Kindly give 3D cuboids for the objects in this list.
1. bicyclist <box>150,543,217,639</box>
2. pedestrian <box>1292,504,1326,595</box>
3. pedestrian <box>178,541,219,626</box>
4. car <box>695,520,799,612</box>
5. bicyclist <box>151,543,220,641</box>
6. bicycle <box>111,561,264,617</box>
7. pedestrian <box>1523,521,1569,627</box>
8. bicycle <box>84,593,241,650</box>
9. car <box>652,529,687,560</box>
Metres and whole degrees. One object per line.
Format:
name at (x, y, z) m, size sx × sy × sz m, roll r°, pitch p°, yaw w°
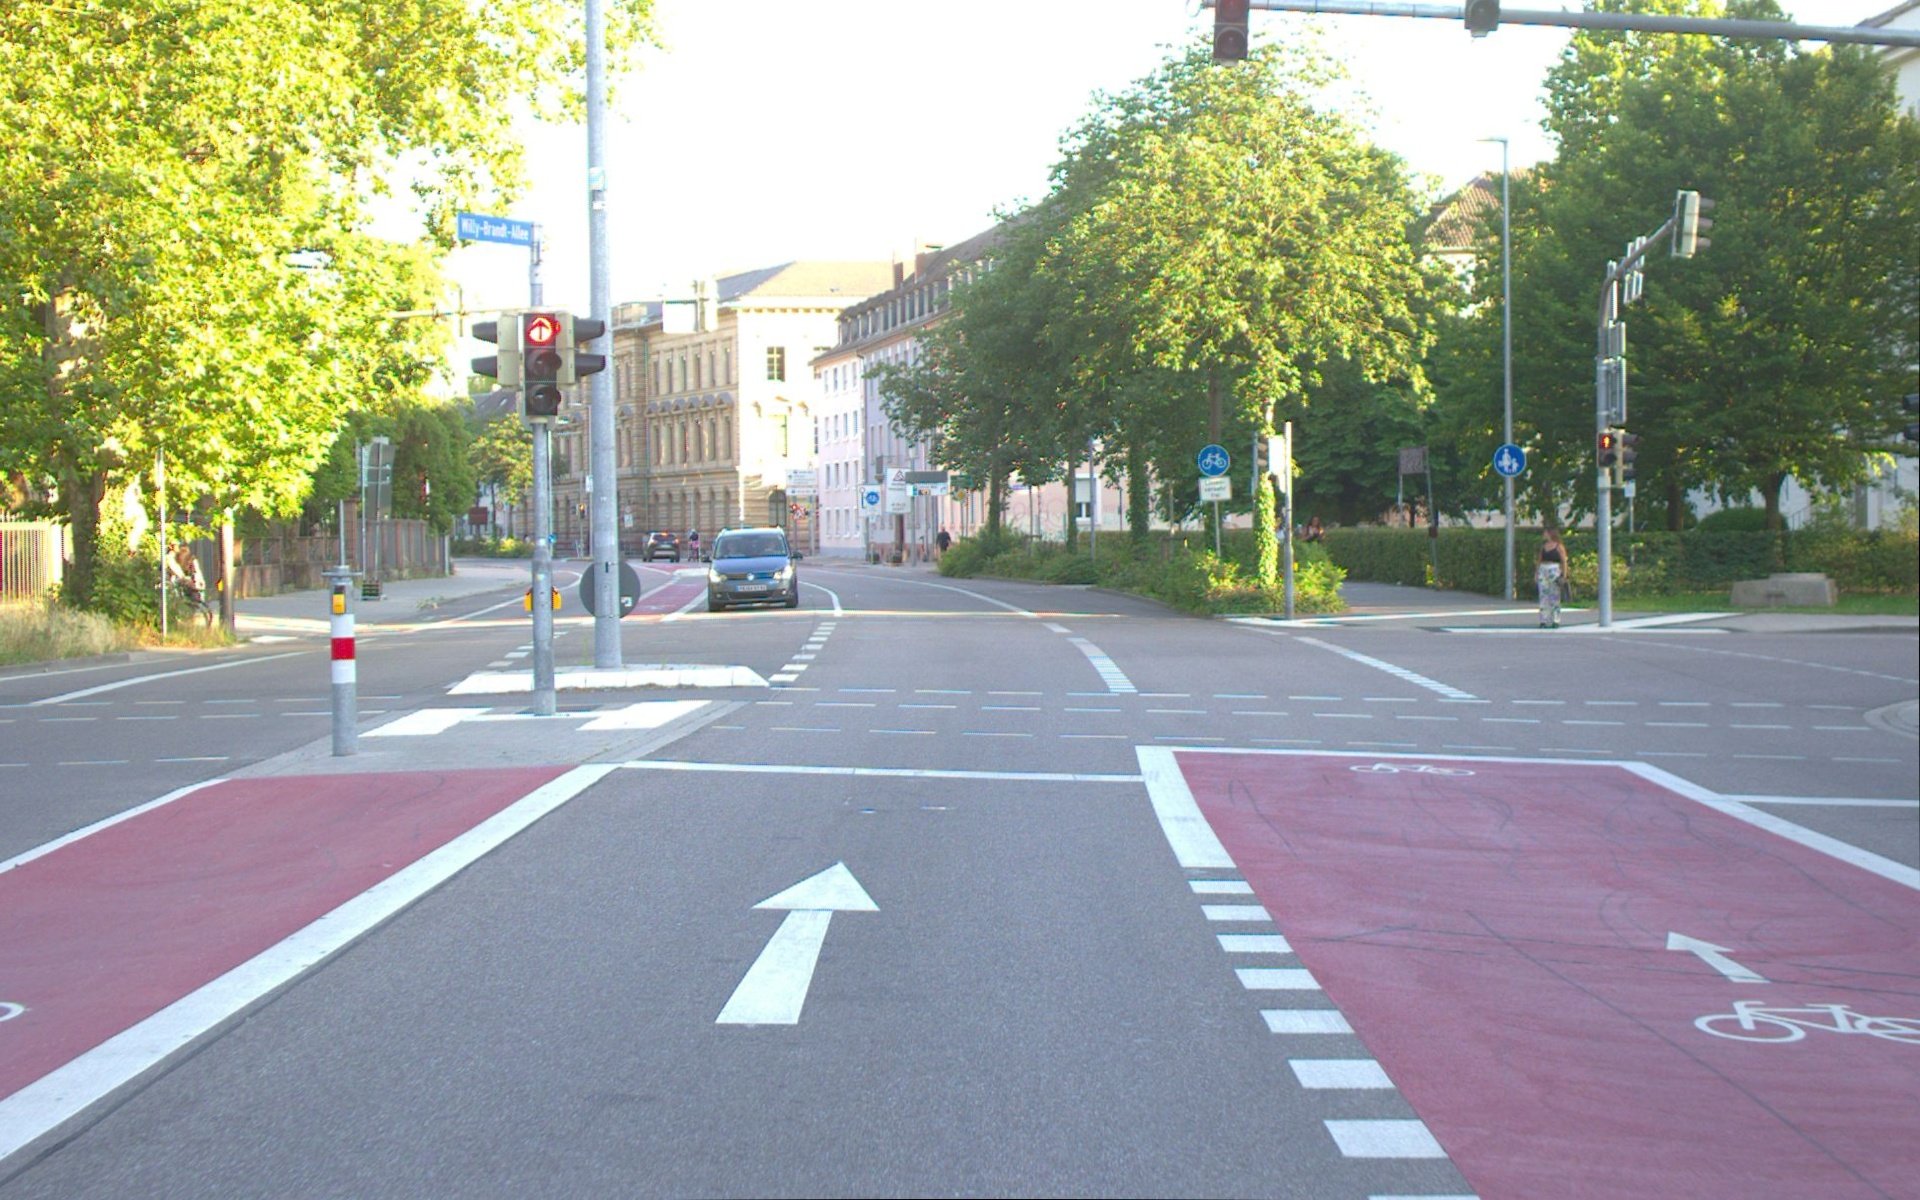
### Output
bicyclist at (-13.303, -0.158, 58.910) m, size 0.958 × 1.625 × 0.753 m, roll -1°, pitch 1°, yaw 1°
pedestrian at (7.723, -1.122, 76.071) m, size 0.635 × 2.007 × 0.720 m, roll 0°, pitch 1°, yaw -3°
pedestrian at (-14.203, -0.309, 64.126) m, size 0.599 × 1.568 × 0.646 m, roll -1°, pitch 1°, yaw 1°
car at (-4.279, -0.704, 69.649) m, size 1.849 × 1.714 × 4.296 m, roll -2°, pitch 1°, yaw -1°
bicyclist at (-12.994, -0.135, 57.693) m, size 0.958 × 1.625 × 0.753 m, roll -1°, pitch 1°, yaw 1°
bicycle at (-13.235, -0.197, 58.904) m, size 2.430 × 0.921 × 0.775 m, roll -1°, pitch 1°, yaw 2°
pedestrian at (9.171, -0.415, 53.823) m, size 0.599 × 1.630 × 0.691 m, roll 1°, pitch 2°, yaw 2°
bicycle at (-13.383, 0.355, 57.721) m, size 2.430 × 0.921 × 0.775 m, roll -1°, pitch 1°, yaw 2°
car at (-15.752, -3.002, 186.250) m, size 1.819 × 1.583 × 4.001 m, roll -2°, pitch 1°, yaw -5°
